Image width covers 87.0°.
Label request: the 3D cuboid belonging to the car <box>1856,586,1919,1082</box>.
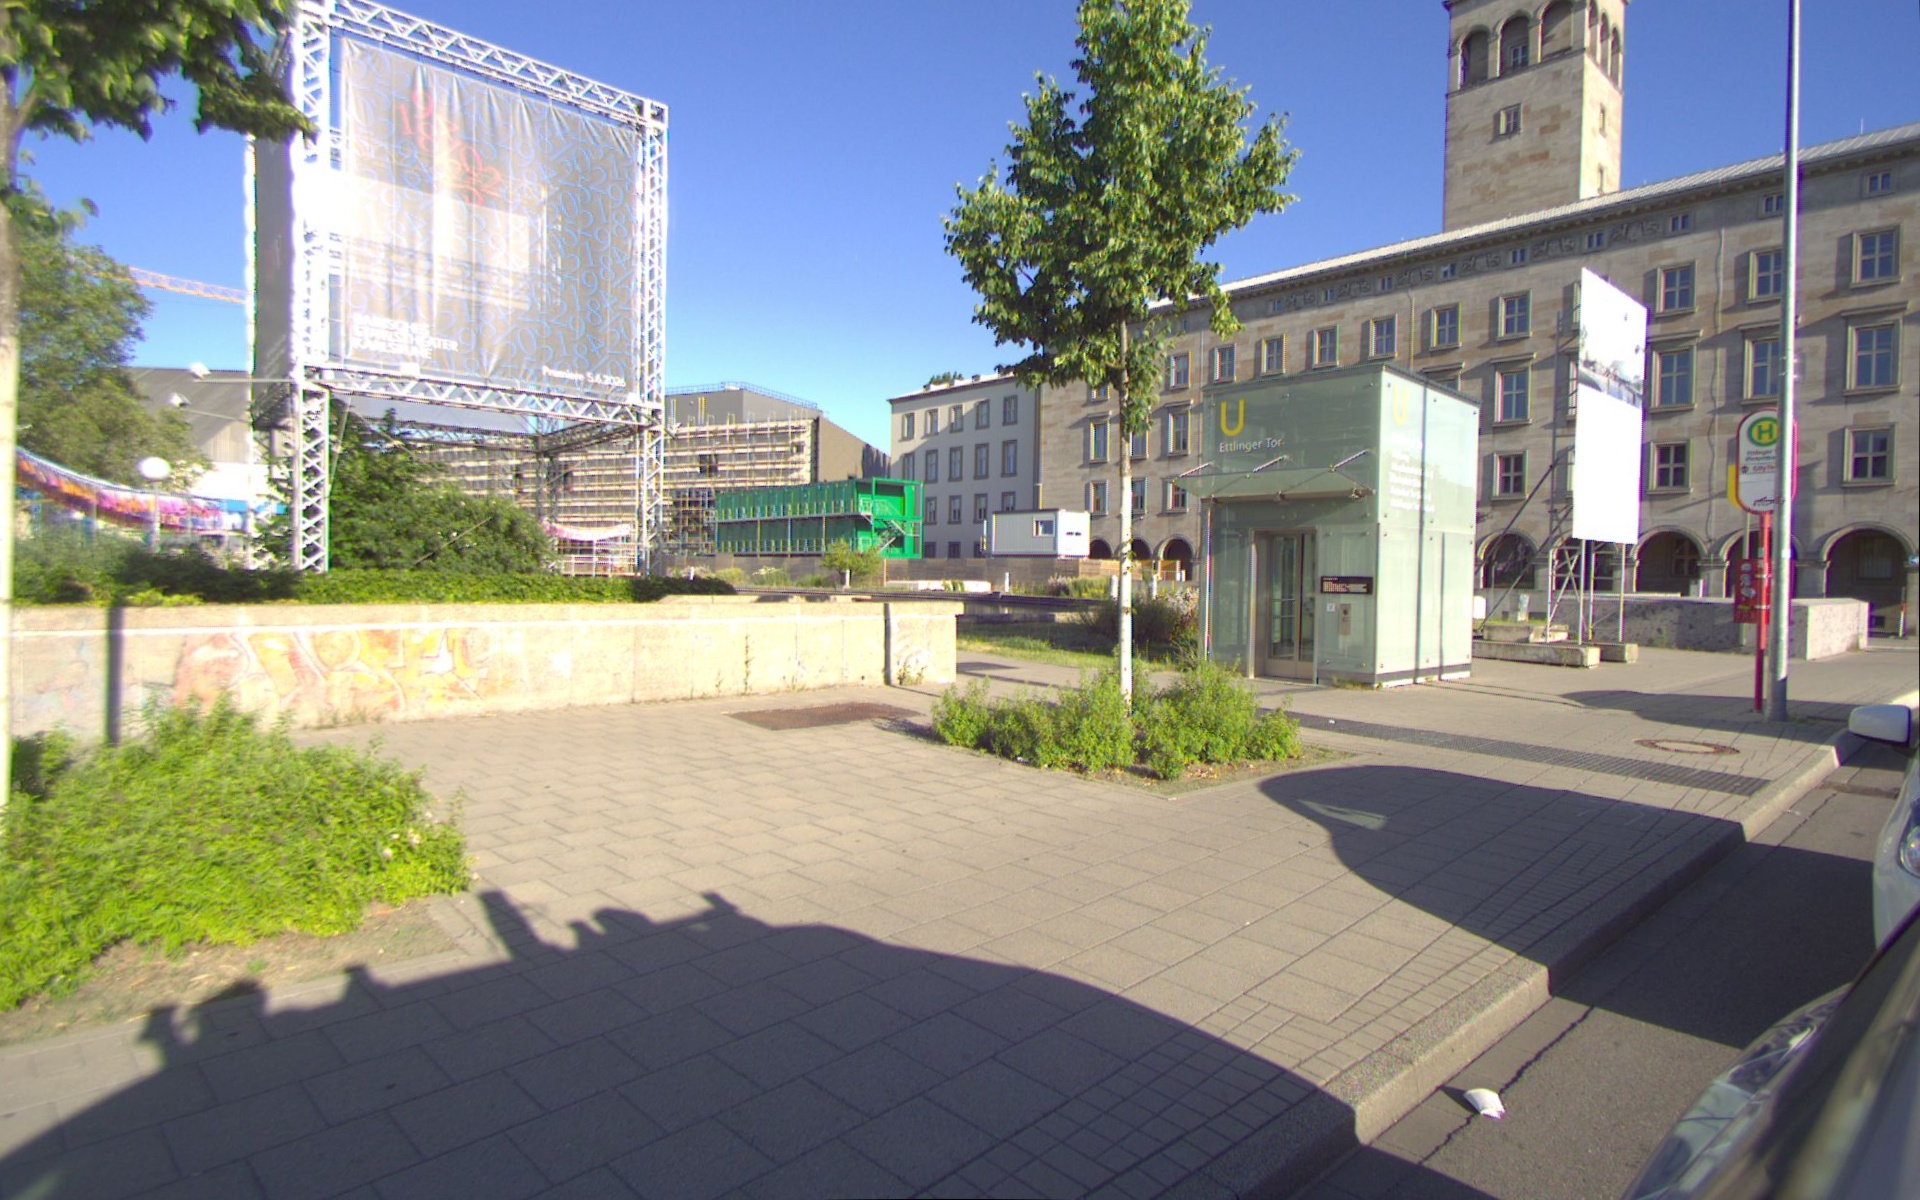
[{"bbox_3d":[4.803,0.693,3.794,3.899,1.490,1.658,0,0,-41],"label":"car"}]
